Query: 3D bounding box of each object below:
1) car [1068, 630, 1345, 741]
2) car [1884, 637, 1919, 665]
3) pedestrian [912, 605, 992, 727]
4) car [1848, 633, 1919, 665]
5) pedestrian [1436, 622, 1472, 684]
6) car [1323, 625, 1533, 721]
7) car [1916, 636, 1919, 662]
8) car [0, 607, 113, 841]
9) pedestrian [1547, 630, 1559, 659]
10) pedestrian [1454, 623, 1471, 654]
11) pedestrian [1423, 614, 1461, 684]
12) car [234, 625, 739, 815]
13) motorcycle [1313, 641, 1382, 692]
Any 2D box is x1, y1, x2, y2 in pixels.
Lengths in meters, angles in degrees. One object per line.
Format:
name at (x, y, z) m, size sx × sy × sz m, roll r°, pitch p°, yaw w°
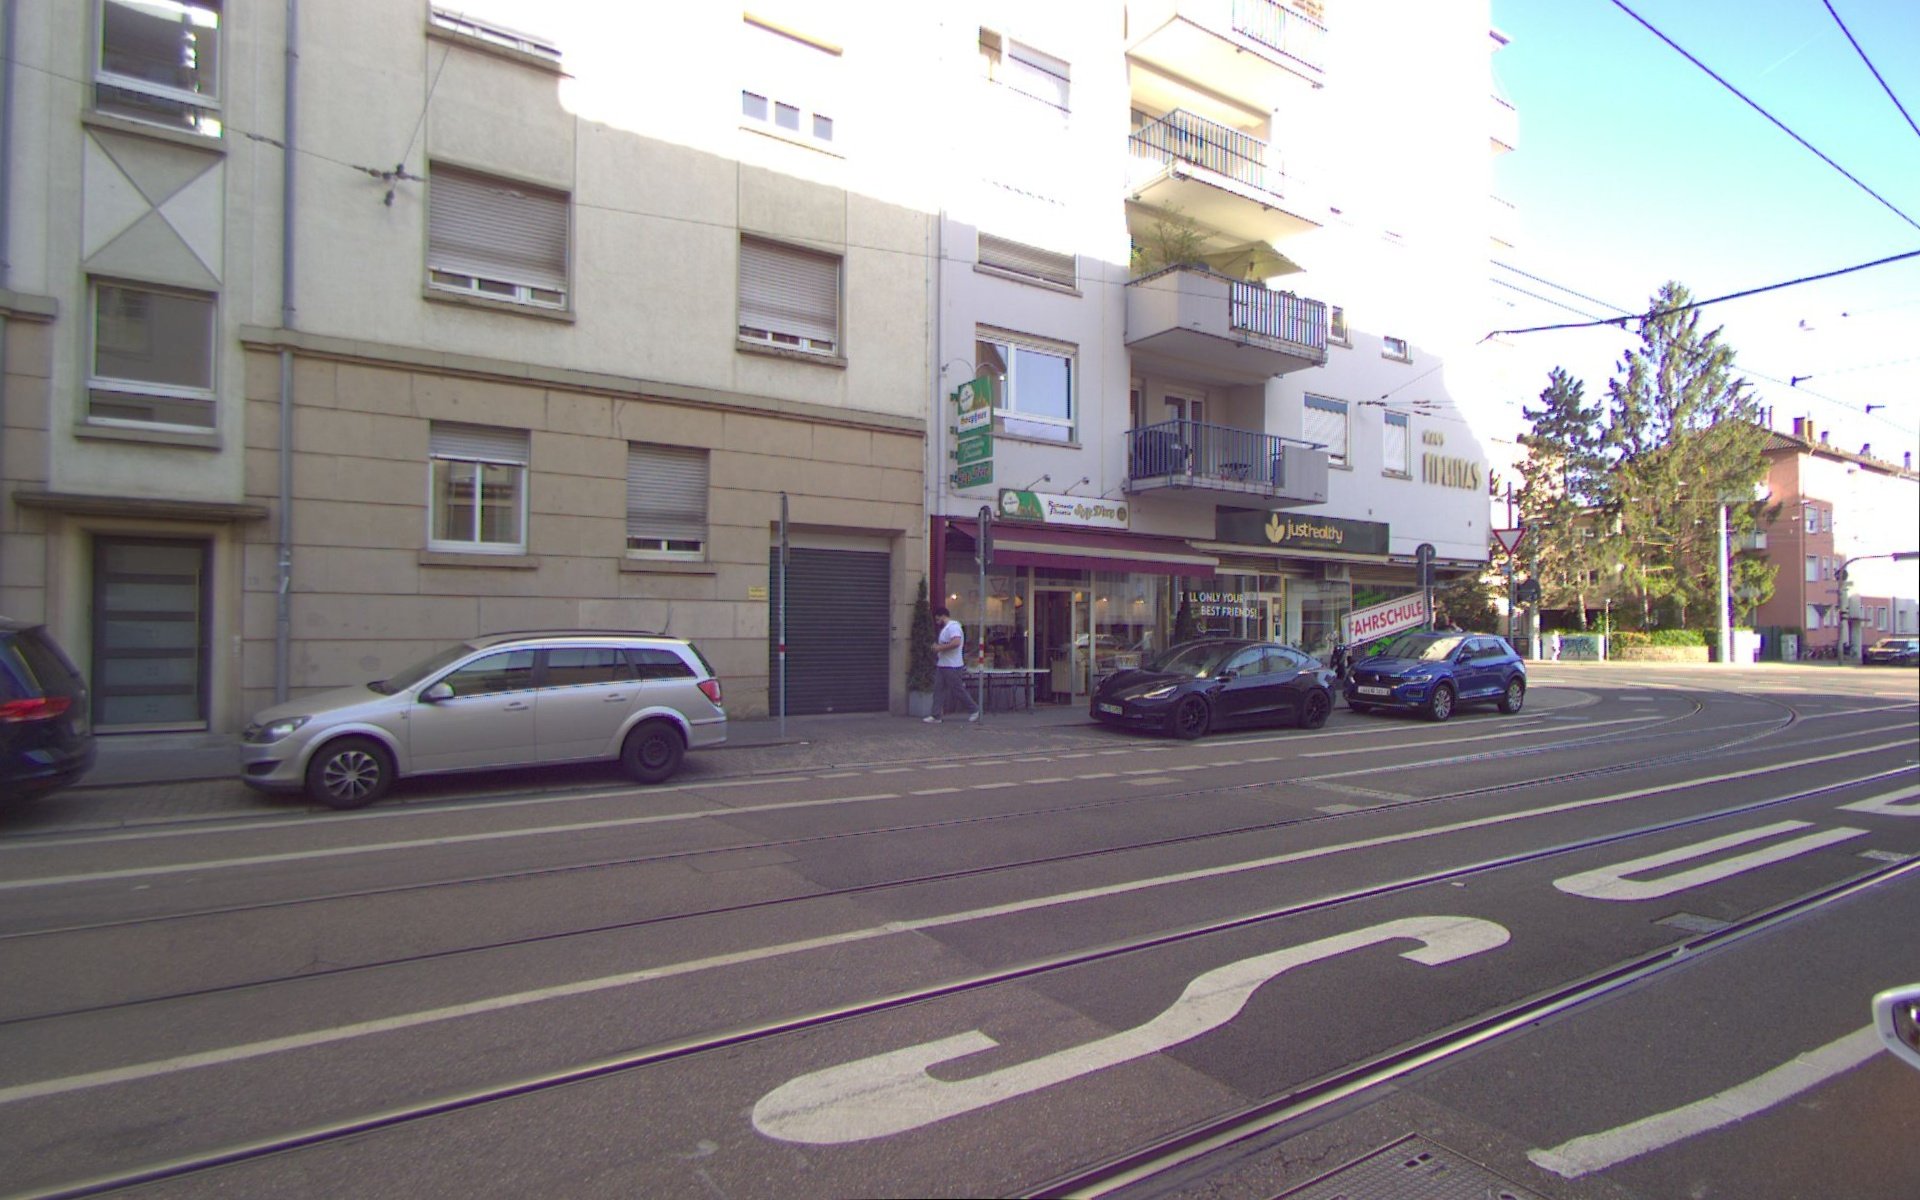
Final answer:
car at (4.008, 1.290, 16.052) m, size 4.398 × 1.494 × 1.759 m, roll 2°, pitch 0°, yaw -33°
car at (54.074, 2.864, 56.654) m, size 4.057 × 1.456 × 1.893 m, roll 2°, pitch 0°, yaw -32°
pedestrian at (-0.123, 0.982, 15.418) m, size 0.998 × 1.791 × 0.656 m, roll 2°, pitch 0°, yaw -40°
car at (49.733, 2.645, 53.883) m, size 4.397 × 1.450 × 2.140 m, roll 4°, pitch -1°, yaw -35°
pedestrian at (14.798, 1.574, 30.087) m, size 0.653 × 1.816 × 0.733 m, roll 1°, pitch -1°, yaw -27°
car at (8.921, 1.293, 19.040) m, size 4.196 × 1.524 × 1.757 m, roll 0°, pitch 1°, yaw -36°
car at (58.405, 2.939, 59.457) m, size 4.185 × 1.546 × 1.731 m, roll 2°, pitch 0°, yaw -34°
car at (-8.966, 0.875, 7.142) m, size 4.282 × 1.655 × 1.802 m, roll 2°, pitch 1°, yaw -35°
pedestrian at (32.413, 2.419, 54.924) m, size 0.509 × 1.589 × 0.572 m, roll 2°, pitch 0°, yaw 33°
pedestrian at (28.934, 2.205, 57.832) m, size 0.772 × 1.744 × 0.702 m, roll 2°, pitch 0°, yaw 37°
pedestrian at (13.633, 1.379, 28.437) m, size 0.727 × 1.925 × 0.573 m, roll 3°, pitch -2°, yaw -15°
car at (-4.631, 1.062, 10.176) m, size 4.327 × 1.474 × 1.714 m, roll 2°, pitch 1°, yaw -35°
motorcycle at (9.236, 1.568, 23.895) m, size 1.778 × 1.149 × 0.603 m, roll 2°, pitch 0°, yaw -34°
